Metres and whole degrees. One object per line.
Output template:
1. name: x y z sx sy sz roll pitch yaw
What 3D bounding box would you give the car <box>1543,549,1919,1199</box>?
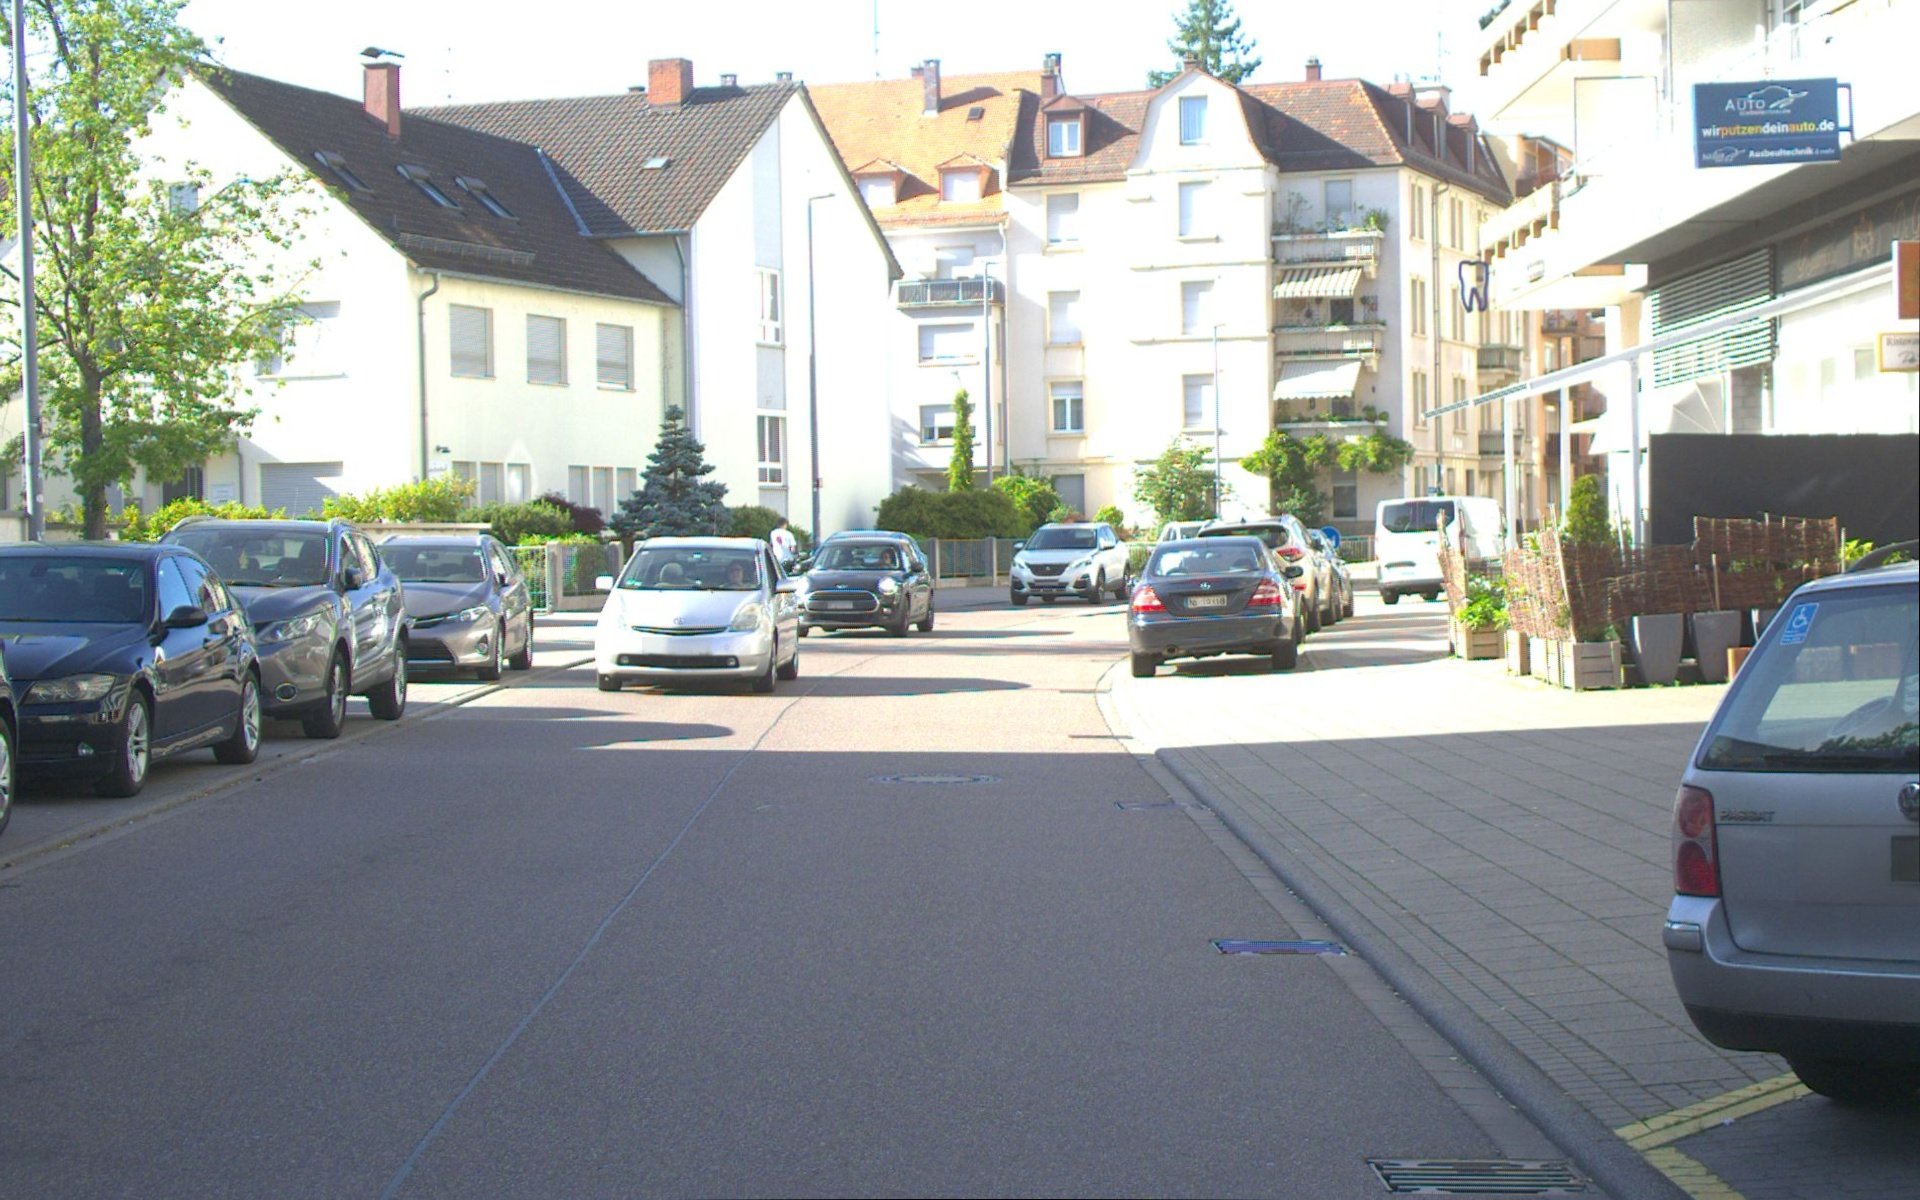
1. car: 3.691 0.550 9.189 4.634 1.461 1.690 -3 0 -43

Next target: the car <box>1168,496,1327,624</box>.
1. car: 4.110 -0.523 48.565 1.818 1.648 4.558 -1 -1 10

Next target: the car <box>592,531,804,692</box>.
1. car: -2.558 0.068 34.379 1.726 1.480 4.106 -1 1 1

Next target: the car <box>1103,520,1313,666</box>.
1. car: 2.757 -0.094 37.191 1.971 1.445 5.002 -1 1 7

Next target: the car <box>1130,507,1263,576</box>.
1. car: 6.487 -1.604 94.771 1.989 1.779 4.520 -2 1 -19

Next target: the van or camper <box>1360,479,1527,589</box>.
1. van or camper: 9.396 -1.301 66.523 2.023 1.940 4.698 -3 1 22

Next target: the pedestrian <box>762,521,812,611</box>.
1. pedestrian: -3.338 -0.646 66.364 0.683 1.698 0.823 -1 -1 21

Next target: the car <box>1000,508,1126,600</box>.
1. car: 2.137 -0.906 69.995 1.920 1.719 4.334 -1 -1 10

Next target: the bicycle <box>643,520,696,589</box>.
1. bicycle: -5.534 -0.852 65.600 0.456 1.246 1.927 -1 -1 12

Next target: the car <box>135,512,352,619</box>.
1. car: -11.173 -0.511 53.779 1.802 1.550 3.184 -1 -1 23

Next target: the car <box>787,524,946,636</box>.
1. car: -1.341 -0.263 50.758 1.740 1.507 3.729 -1 -1 7

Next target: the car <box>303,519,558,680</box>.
1. car: -5.471 -0.062 36.125 1.993 1.529 4.919 -1 2 -1

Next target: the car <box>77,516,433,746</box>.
1. car: -5.238 0.163 26.110 1.720 1.581 4.421 -1 1 1

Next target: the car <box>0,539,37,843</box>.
1. car: -5.277 0.460 14.973 1.598 1.435 4.001 -1 1 -3

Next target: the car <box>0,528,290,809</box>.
1. car: -5.307 0.325 20.400 1.726 1.460 4.439 -1 1 1
